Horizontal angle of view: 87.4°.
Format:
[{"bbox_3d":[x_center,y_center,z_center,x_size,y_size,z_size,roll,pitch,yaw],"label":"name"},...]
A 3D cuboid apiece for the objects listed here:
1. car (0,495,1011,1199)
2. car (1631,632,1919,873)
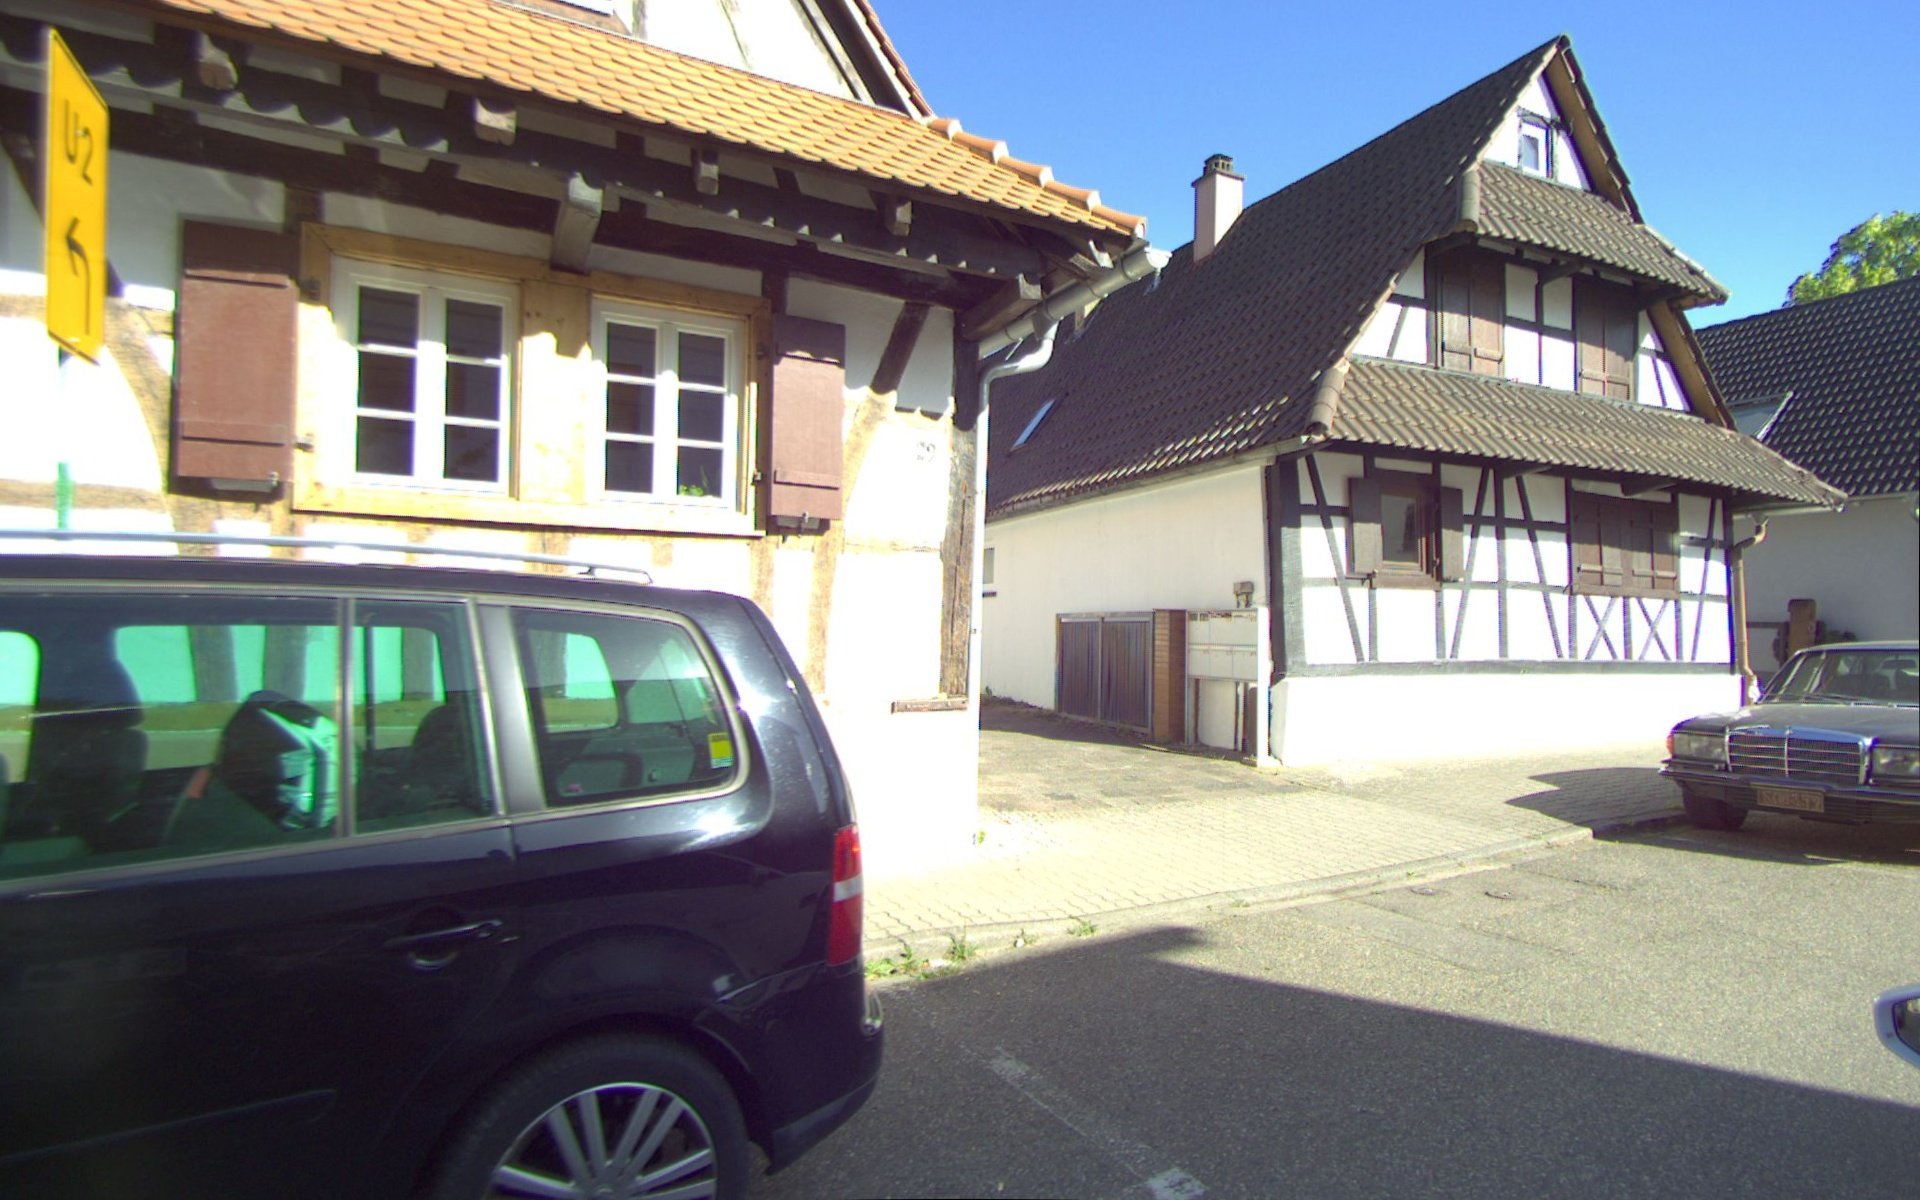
[{"bbox_3d":[-2.181,0.662,2.087,4.309,1.626,1.776,1,-2,-30],"label":"car"},{"bbox_3d":[7.502,0.995,7.769,4.977,1.424,1.836,2,-3,-30],"label":"car"}]
